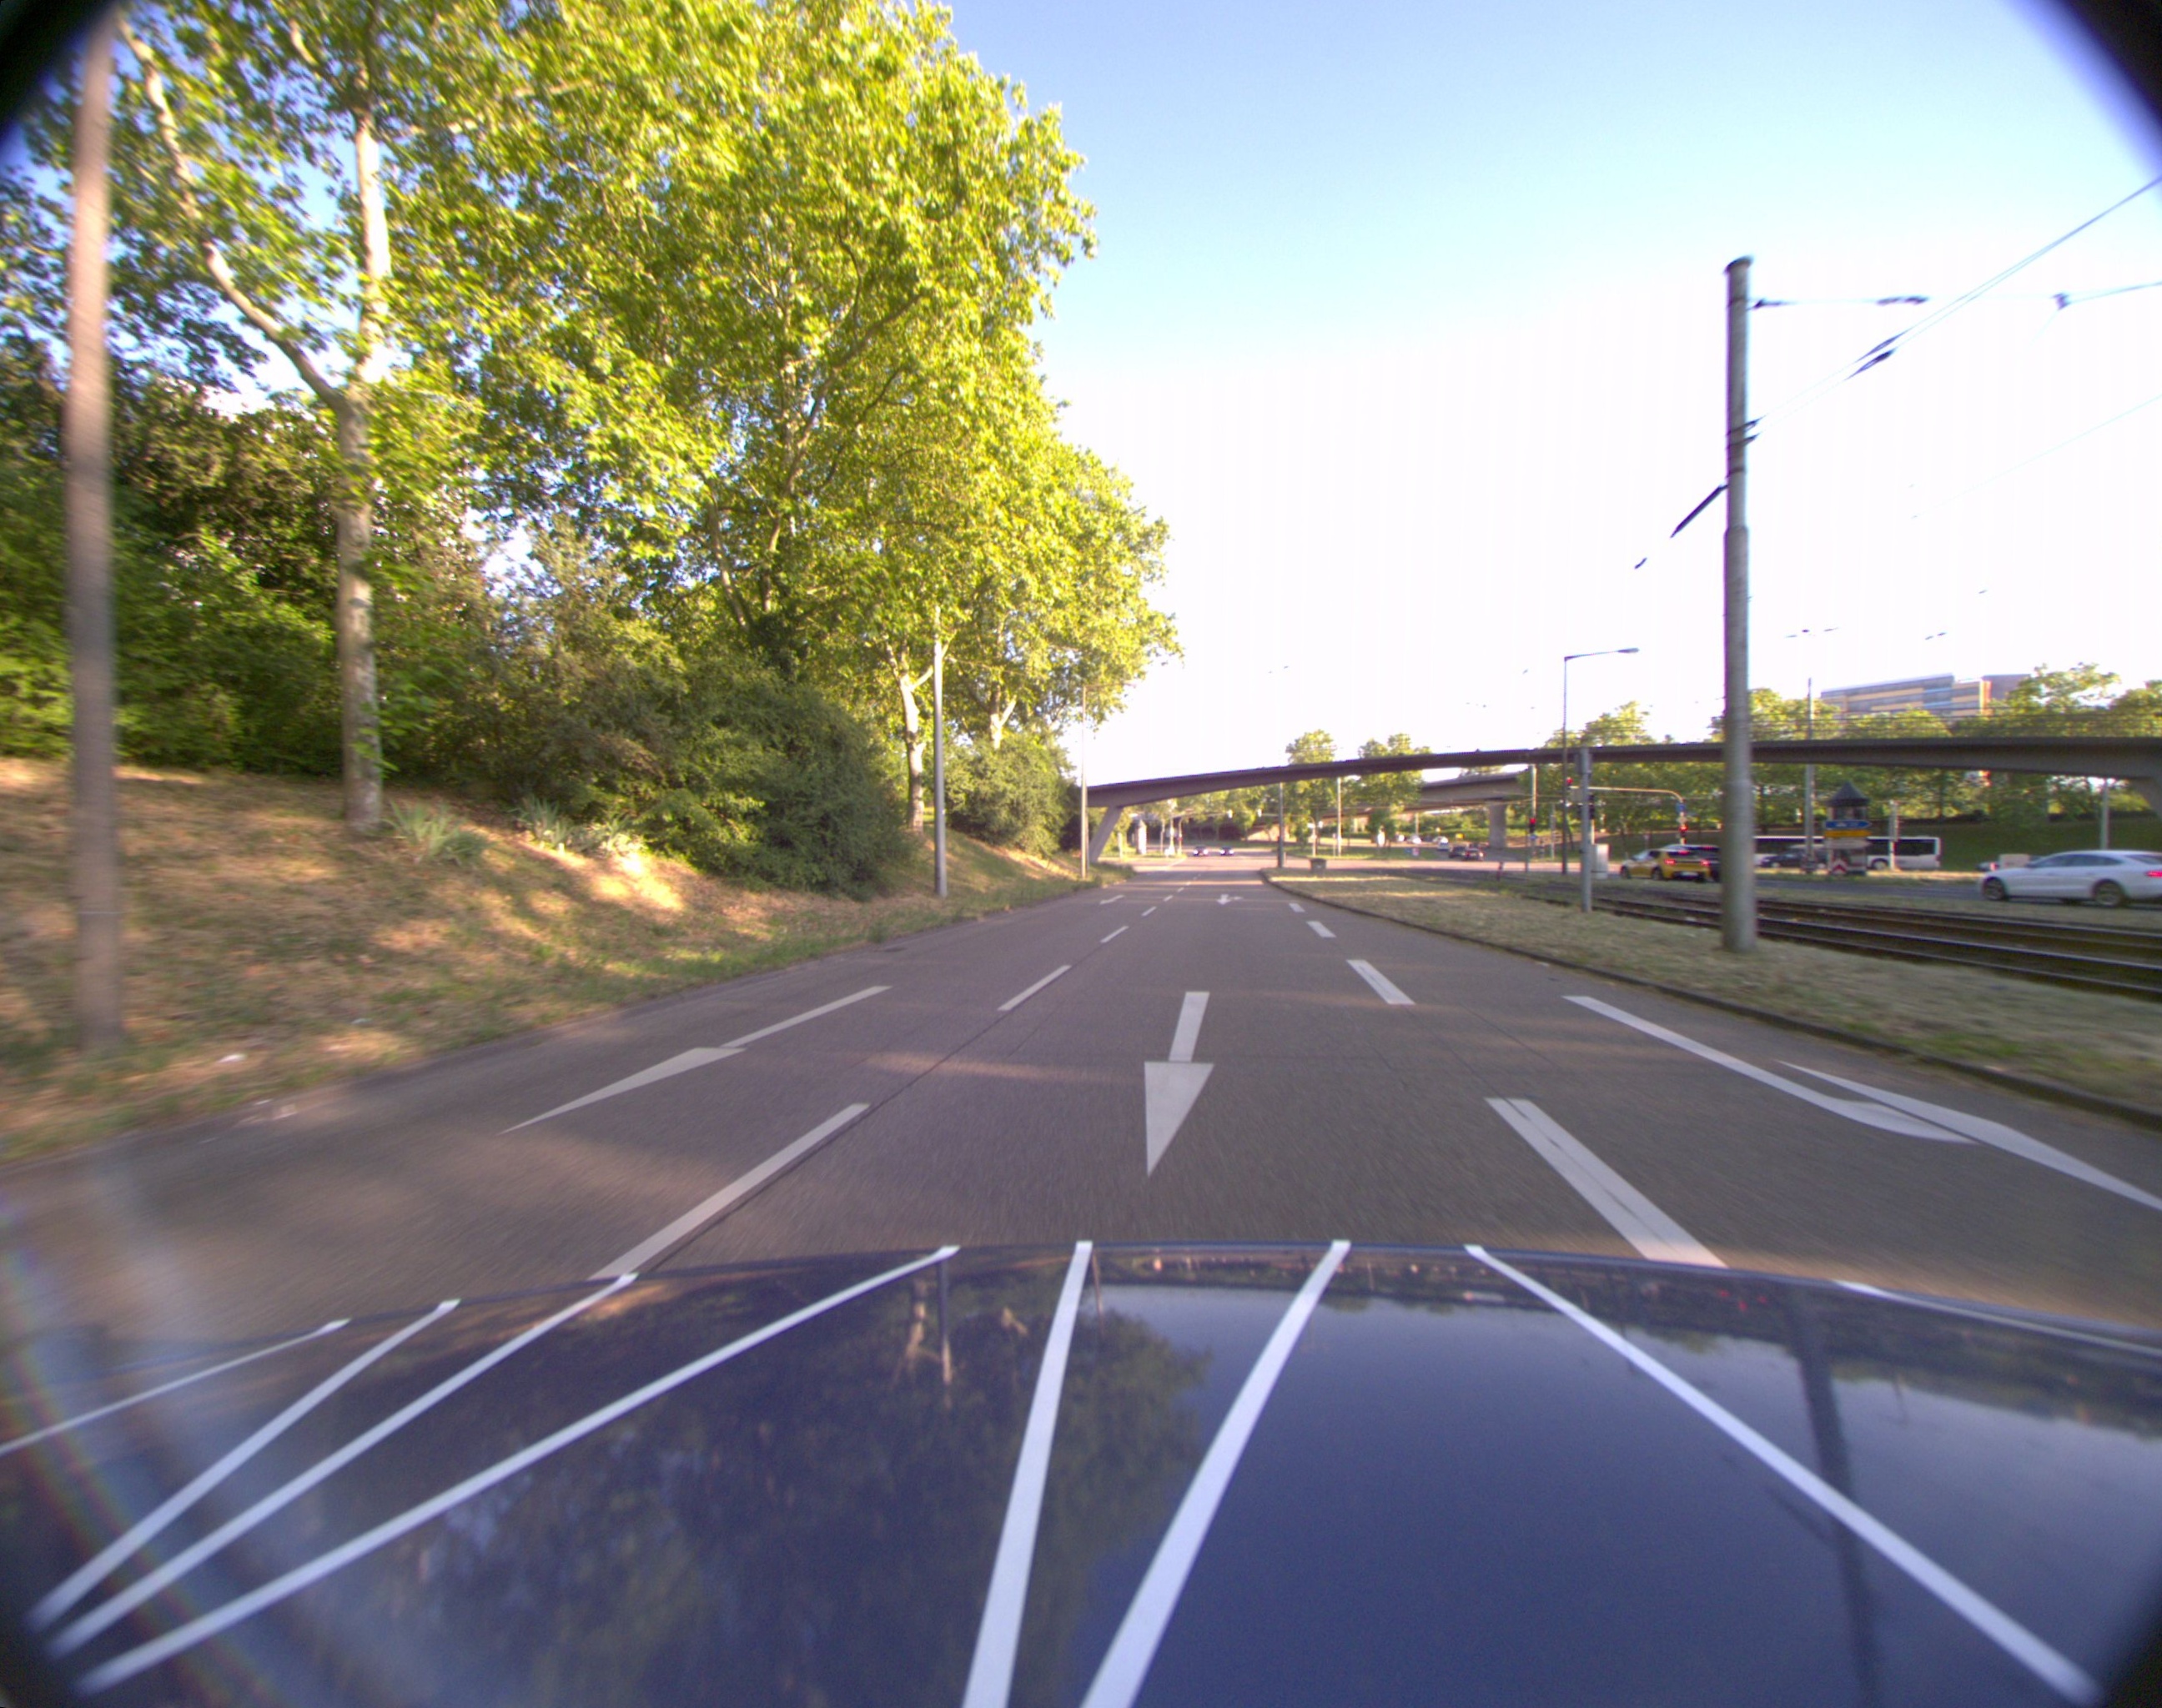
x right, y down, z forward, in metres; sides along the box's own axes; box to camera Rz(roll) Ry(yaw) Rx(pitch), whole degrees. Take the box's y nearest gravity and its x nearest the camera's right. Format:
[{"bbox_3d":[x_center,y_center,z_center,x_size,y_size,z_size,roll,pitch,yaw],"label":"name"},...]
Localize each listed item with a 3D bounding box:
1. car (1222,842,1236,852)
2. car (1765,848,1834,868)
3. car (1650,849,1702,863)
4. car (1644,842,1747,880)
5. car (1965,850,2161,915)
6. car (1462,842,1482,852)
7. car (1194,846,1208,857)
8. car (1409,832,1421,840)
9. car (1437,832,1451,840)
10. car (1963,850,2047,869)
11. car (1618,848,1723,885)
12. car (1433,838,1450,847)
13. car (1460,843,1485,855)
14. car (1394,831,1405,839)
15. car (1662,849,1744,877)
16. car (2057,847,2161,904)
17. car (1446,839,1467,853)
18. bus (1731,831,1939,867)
[{"bbox_3d":[21.857,-1.053,112.630,1.997,1.477,4.003,-1,0,10],"label":"car"},{"bbox_3d":[62.207,0.342,65.882,4.083,1.643,1.720,1,2,34],"label":"car"},{"bbox_3d":[57.693,0.175,73.742,3.724,1.346,1.612,1,2,31],"label":"car"},{"bbox_3d":[29.188,0.306,36.283,1.841,1.645,4.439,-2,0,9],"label":"car"},{"bbox_3d":[25.365,0.633,18.976,1.841,1.407,4.603,0,0,12],"label":"car"},{"bbox_3d":[58.508,-1.131,113.747,2.008,1.435,4.258,-1,1,17],"label":"car"},{"bbox_3d":[17.471,-0.386,110.427,1.997,1.477,4.003,-1,0,10],"label":"car"},{"bbox_3d":[73.547,-3.988,167.322,1.853,1.600,4.313,0,1,18],"label":"car"},{"bbox_3d":[75.652,-3.675,158.421,1.853,1.600,4.375,0,1,16],"label":"car"},{"bbox_3d":[75.130,0.412,61.889,3.988,1.434,1.708,1,2,34],"label":"car"},{"bbox_3d":[24.703,0.477,32.036,1.841,1.408,4.021,-1,1,10],"label":"car"},{"bbox_3d":[59.367,-1.842,125.266,2.007,1.435,4.867,0,1,20],"label":"car"},{"bbox_3d":[42.902,-0.556,83.298,1.688,1.302,4.314,-1,1,17],"label":"car"},{"bbox_3d":[73.485,-4.323,175.552,1.853,1.856,4.150,0,2,16],"label":"car"},{"bbox_3d":[34.781,0.455,42.631,1.689,1.408,4.441,-1,1,12],"label":"car"},{"bbox_3d":[29.967,0.578,20.650,1.841,1.473,4.440,-2,0,13],"label":"car"},{"bbox_3d":[47.486,-1.054,96.117,1.792,1.641,4.362,-1,1,18],"label":"car"},{"bbox_3d":[66.553,-0.528,67.726,12.815,2.938,2.837,1,2,35],"label":"bus"}]
